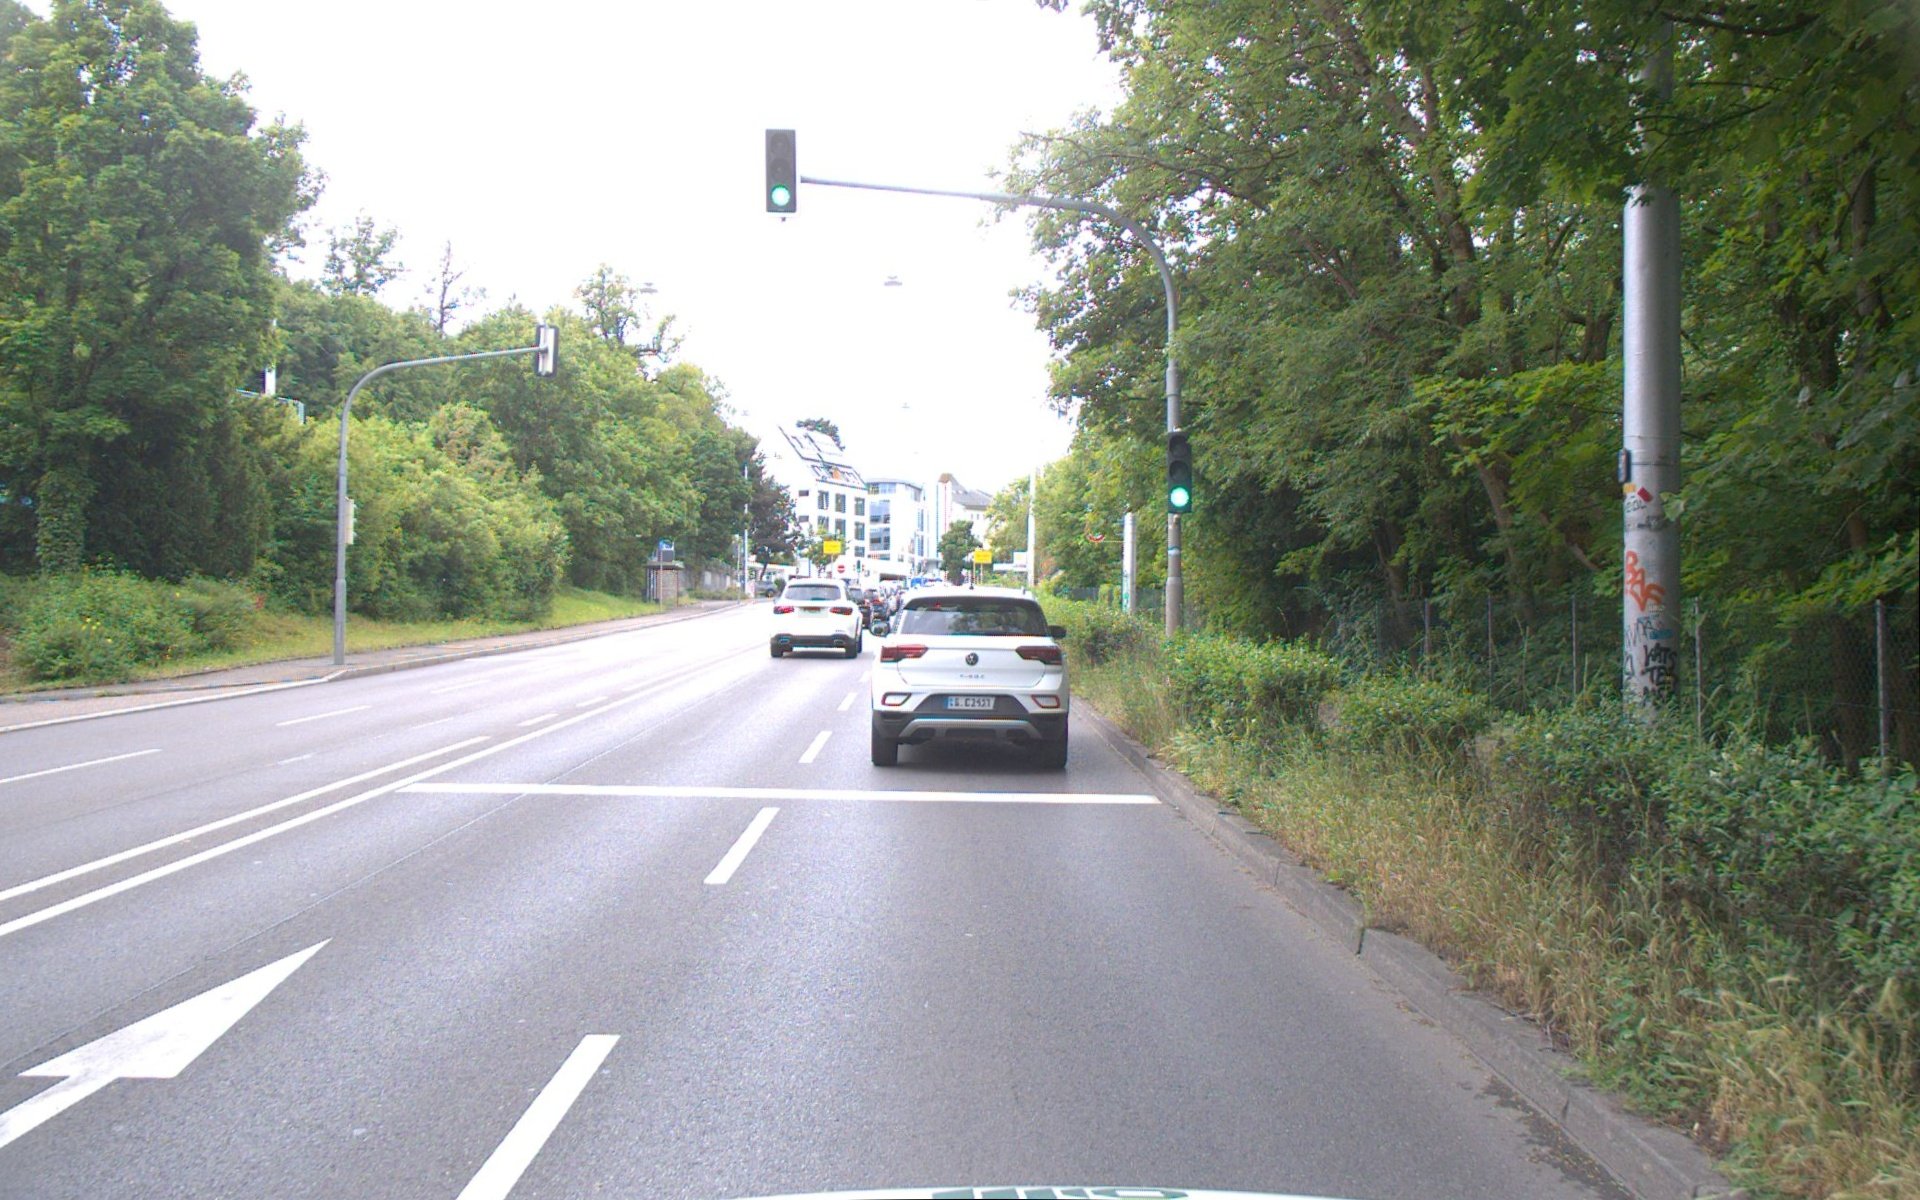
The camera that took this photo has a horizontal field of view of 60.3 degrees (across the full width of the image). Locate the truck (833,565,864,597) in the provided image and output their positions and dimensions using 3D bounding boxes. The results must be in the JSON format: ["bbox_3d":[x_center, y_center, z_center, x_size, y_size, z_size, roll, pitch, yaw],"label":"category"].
[{"bbox_3d":[-11.251,-1.901,167.543,2.245,3.104,6.982,-1,0,3],"label":"truck"}]

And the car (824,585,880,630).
[{"bbox_3d":[-3.810,0.250,58.728,1.792,1.523,3.999,-1,0,-1],"label":"car"}]

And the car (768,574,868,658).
[{"bbox_3d":[-3.021,0.311,35.939,1.879,1.698,3.999,1,0,-1],"label":"car"}]

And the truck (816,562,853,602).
[{"bbox_3d":[-8.949,-1.307,118.417,2.314,2.753,4.477,-2,0,-1],"label":"truck"}]

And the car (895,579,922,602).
[{"bbox_3d":[-3.541,-0.643,113.601,1.792,1.552,3.999,-1,0,-1],"label":"car"}]

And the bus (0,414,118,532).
[{"bbox_3d":[-27.713,-3.638,48.152,2.489,2.838,7.941,-1,-1,-1],"label":"bus"}]

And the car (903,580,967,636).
[{"bbox_3d":[-0.734,0.222,48.836,1.792,1.552,3.999,-1,0,-1],"label":"car"}]

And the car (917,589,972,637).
[{"bbox_3d":[-0.549,0.410,56.819,1.792,1.552,3.999,-1,0,-1],"label":"car"}]

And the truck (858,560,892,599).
[{"bbox_3d":[-6.266,-1.505,123.025,2.314,2.830,4.477,-2,0,-1],"label":"truck"}]

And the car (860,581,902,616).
[{"bbox_3d":[-3.613,-0.088,76.407,1.792,1.552,3.999,-1,0,-1],"label":"car"}]

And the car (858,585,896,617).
[{"bbox_3d":[-4.195,0.042,84.364,1.792,1.552,3.999,-1,0,-1],"label":"car"}]

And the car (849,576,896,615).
[{"bbox_3d":[-3.622,-0.193,69.029,1.792,1.552,3.999,-1,0,-1],"label":"car"}]

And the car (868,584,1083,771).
[{"bbox_3d":[0.096,0.629,15.793,1.792,1.552,3.999,0,0,-1],"label":"car"}]
